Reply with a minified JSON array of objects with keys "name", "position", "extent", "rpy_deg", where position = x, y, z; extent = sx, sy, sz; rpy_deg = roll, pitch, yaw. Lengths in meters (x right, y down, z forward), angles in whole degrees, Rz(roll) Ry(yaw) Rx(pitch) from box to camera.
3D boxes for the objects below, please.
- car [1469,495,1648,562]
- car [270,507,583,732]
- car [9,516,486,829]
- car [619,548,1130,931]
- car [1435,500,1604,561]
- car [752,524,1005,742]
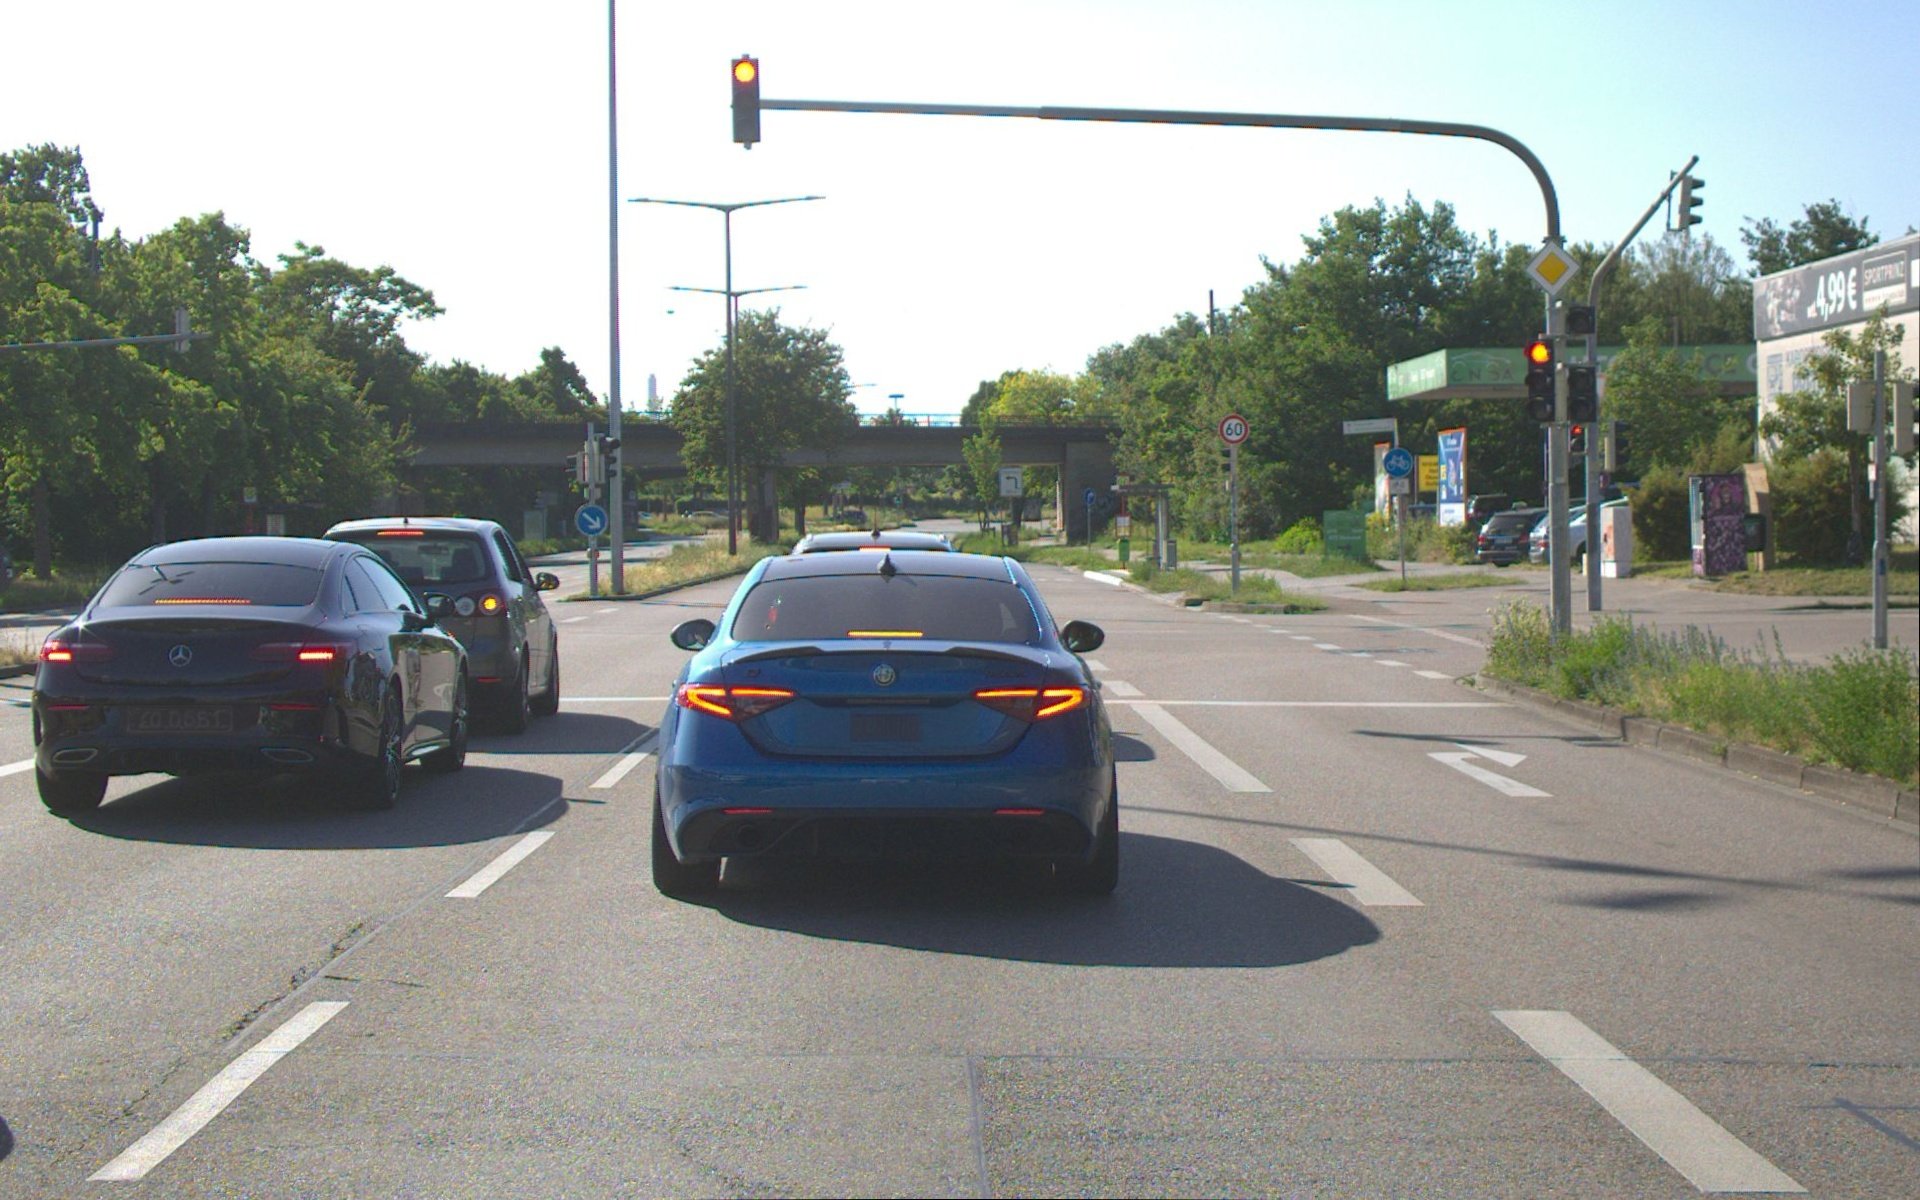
[{"name":"car","position":[14.486,-1.727,83.324],"extent":[3.987,1.547,2.000],"rpy_deg":[1,1,1]},{"name":"car","position":[-3.956,0.112,26.133],"extent":[1.812,1.546,4.354],"rpy_deg":[1,1,-2]},{"name":"car","position":[-3.845,0.310,19.321],"extent":[1.812,1.546,4.544],"rpy_deg":[0,1,-1]},{"name":"car","position":[-0.280,0.504,14.806],"extent":[1.910,1.418,3.719],"rpy_deg":[1,1,1]},{"name":"car","position":[14.957,-1.854,91.975],"extent":[3.986,1.547,2.001],"rpy_deg":[0,1,-17]},{"name":"car","position":[-0.543,0.204,25.713],"extent":[1.704,1.492,3.719],"rpy_deg":[1,1,1]}]
